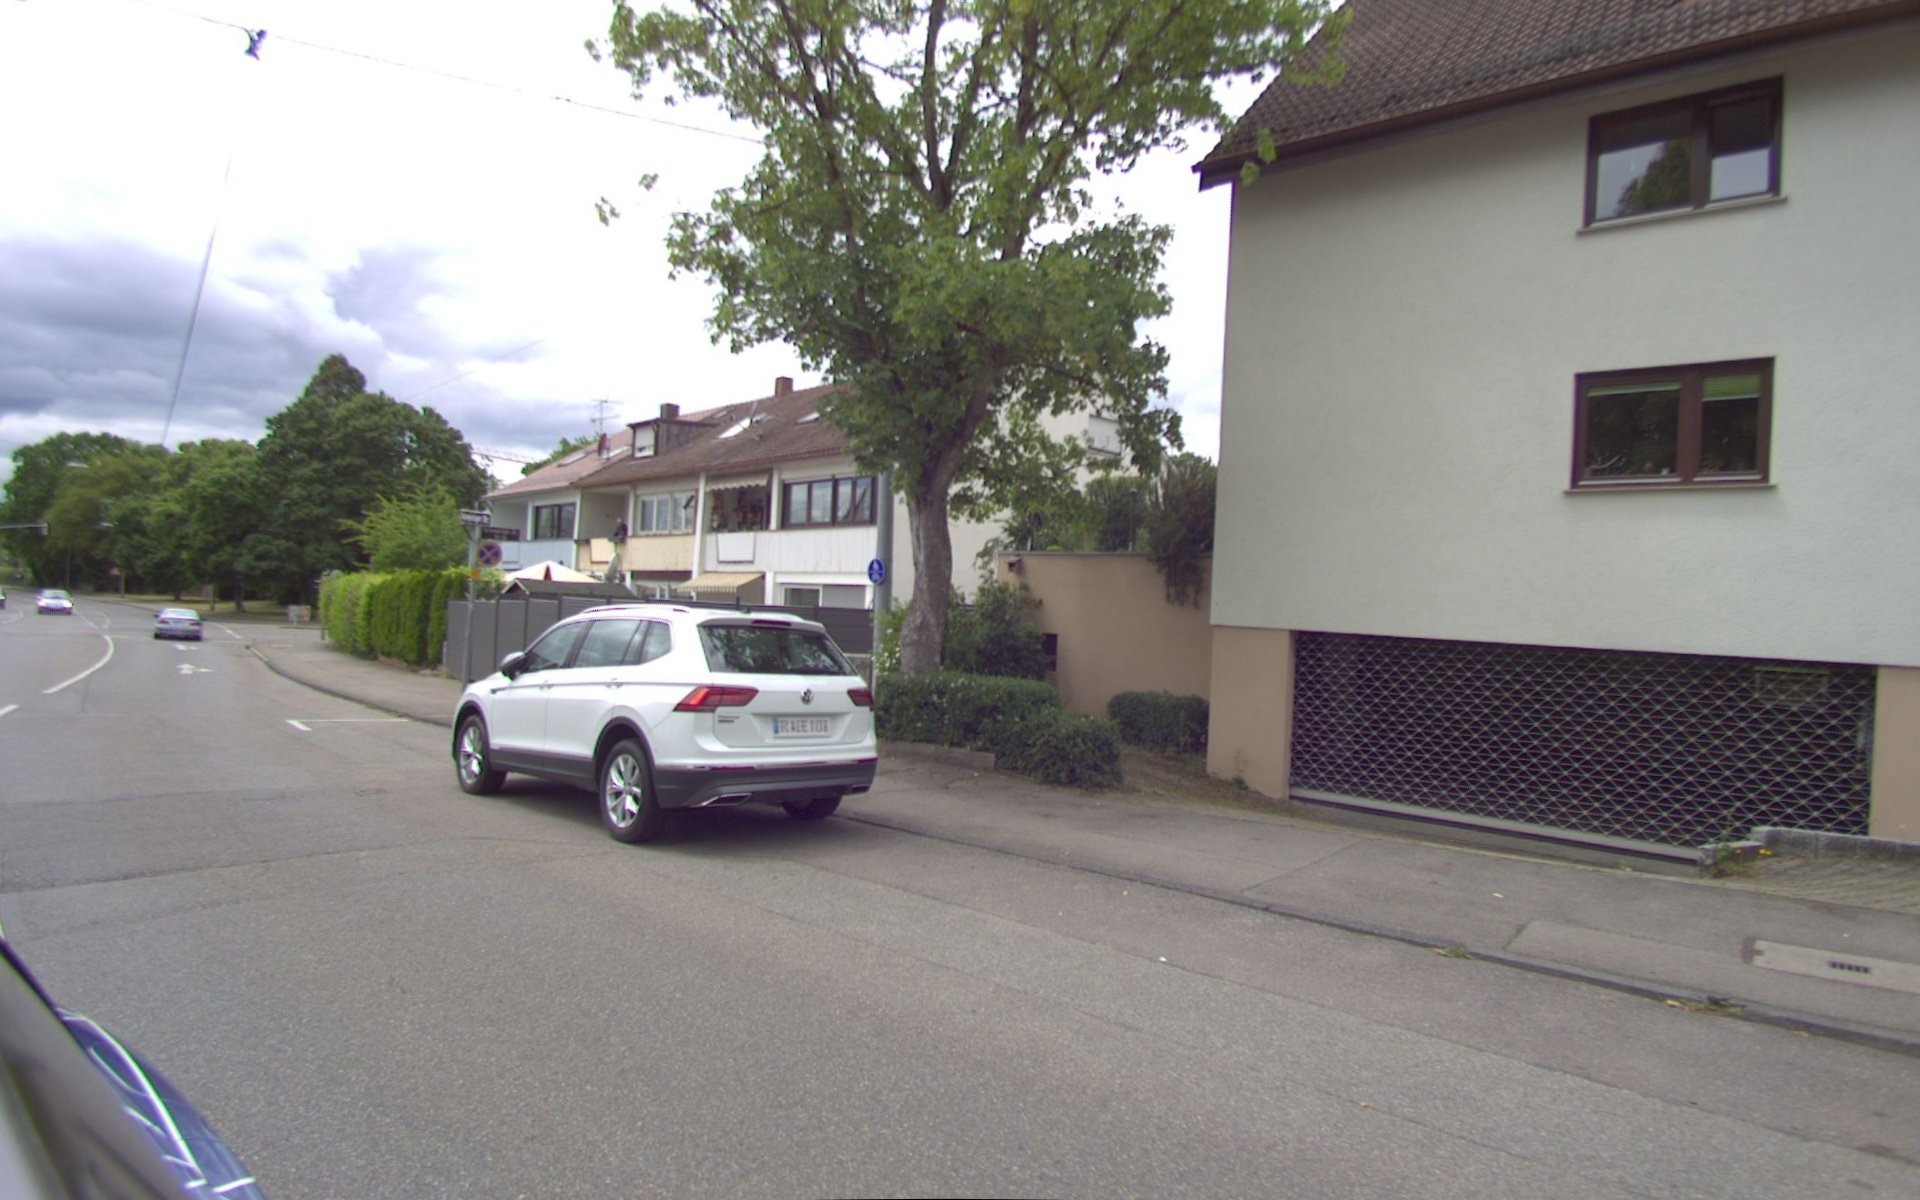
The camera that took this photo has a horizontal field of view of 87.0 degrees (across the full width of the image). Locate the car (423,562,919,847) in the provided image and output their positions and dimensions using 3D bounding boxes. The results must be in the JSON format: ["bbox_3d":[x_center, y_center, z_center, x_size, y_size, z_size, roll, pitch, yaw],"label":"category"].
[{"bbox_3d":[-2.611,0.693,8.400,4.575,1.727,1.829,0,-3,43],"label":"car"}]

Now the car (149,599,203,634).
[{"bbox_3d":[-35.288,0.740,45.615,1.690,1.364,4.092,7,-5,-36],"label":"car"}]

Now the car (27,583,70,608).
[{"bbox_3d":[-60.568,-0.320,67.221,3.557,1.530,1.757,2,1,41],"label":"car"}]

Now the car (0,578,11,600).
[{"bbox_3d":[-69.031,-0.829,72.136,1.898,1.530,4.005,2,0,-42],"label":"car"}]
